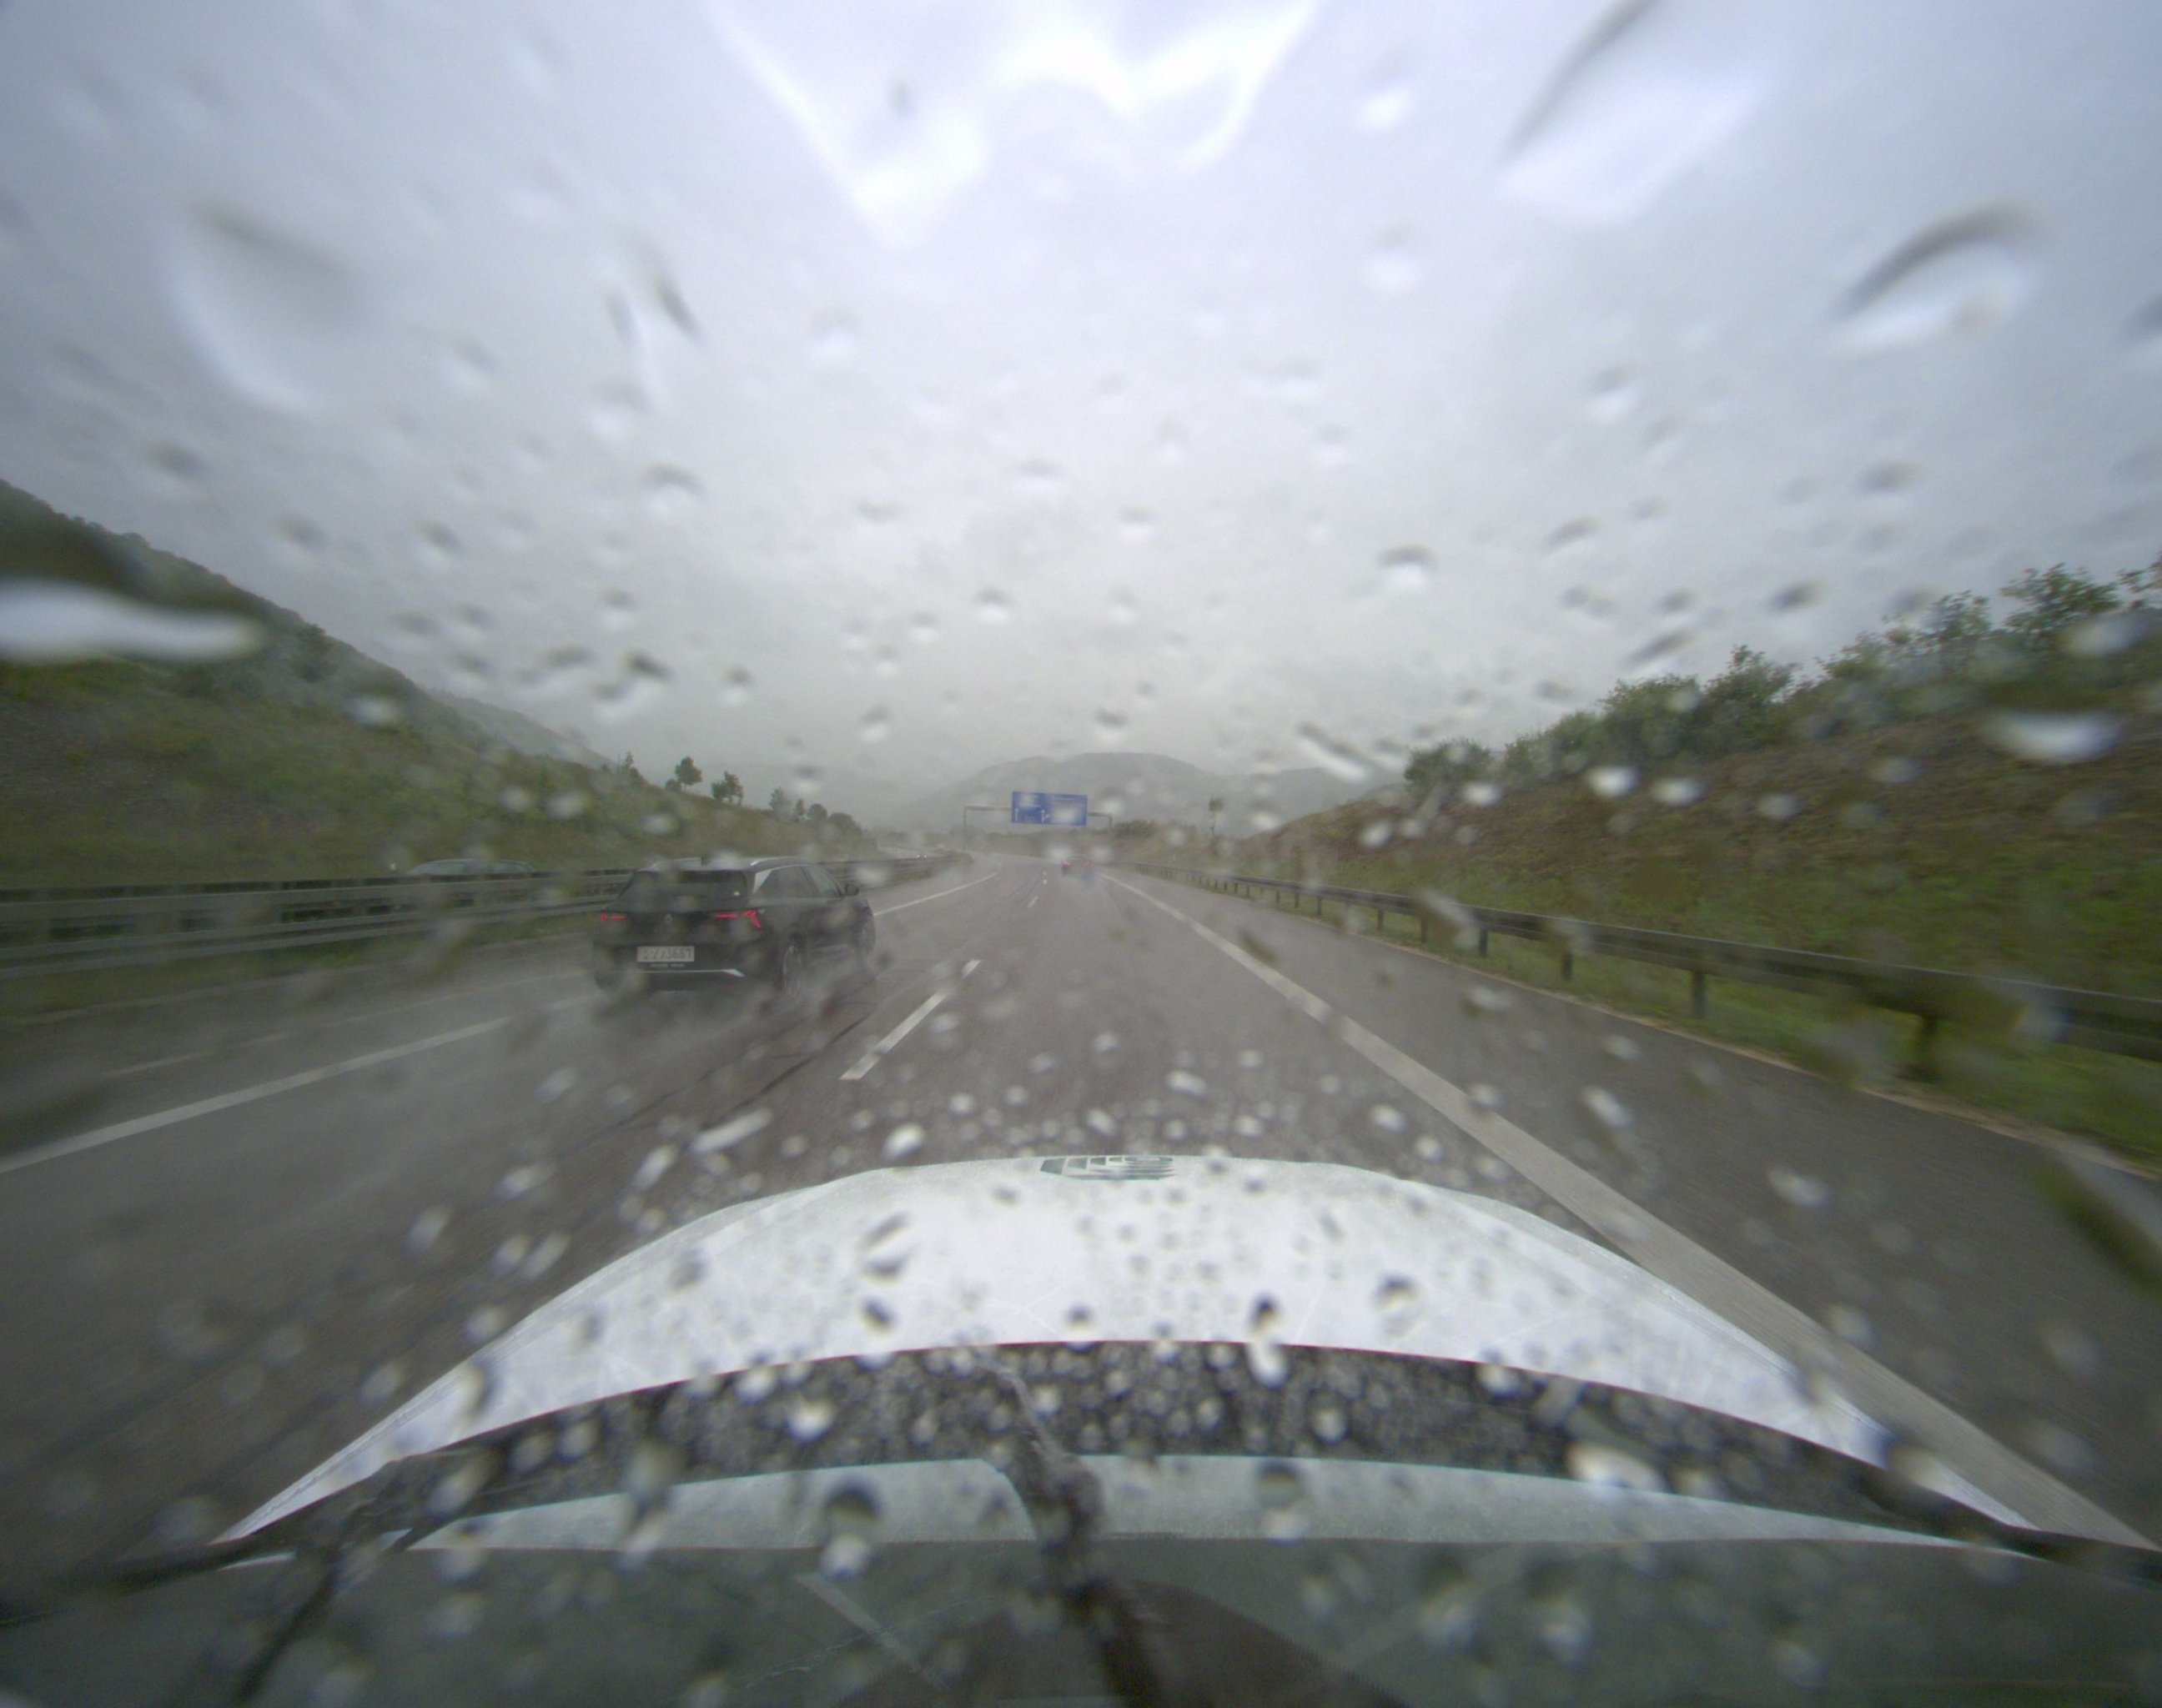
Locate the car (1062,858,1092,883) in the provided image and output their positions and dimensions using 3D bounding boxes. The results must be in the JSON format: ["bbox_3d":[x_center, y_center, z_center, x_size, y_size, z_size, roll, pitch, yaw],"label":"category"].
[{"bbox_3d":[-0.296,1.023,52.005,1.676,1.472,3.808,1,0,-4],"label":"car"}]

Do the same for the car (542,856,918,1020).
[{"bbox_3d":[-3.792,0.796,10.058,2.397,1.515,4.786,1,0,2],"label":"car"}]
